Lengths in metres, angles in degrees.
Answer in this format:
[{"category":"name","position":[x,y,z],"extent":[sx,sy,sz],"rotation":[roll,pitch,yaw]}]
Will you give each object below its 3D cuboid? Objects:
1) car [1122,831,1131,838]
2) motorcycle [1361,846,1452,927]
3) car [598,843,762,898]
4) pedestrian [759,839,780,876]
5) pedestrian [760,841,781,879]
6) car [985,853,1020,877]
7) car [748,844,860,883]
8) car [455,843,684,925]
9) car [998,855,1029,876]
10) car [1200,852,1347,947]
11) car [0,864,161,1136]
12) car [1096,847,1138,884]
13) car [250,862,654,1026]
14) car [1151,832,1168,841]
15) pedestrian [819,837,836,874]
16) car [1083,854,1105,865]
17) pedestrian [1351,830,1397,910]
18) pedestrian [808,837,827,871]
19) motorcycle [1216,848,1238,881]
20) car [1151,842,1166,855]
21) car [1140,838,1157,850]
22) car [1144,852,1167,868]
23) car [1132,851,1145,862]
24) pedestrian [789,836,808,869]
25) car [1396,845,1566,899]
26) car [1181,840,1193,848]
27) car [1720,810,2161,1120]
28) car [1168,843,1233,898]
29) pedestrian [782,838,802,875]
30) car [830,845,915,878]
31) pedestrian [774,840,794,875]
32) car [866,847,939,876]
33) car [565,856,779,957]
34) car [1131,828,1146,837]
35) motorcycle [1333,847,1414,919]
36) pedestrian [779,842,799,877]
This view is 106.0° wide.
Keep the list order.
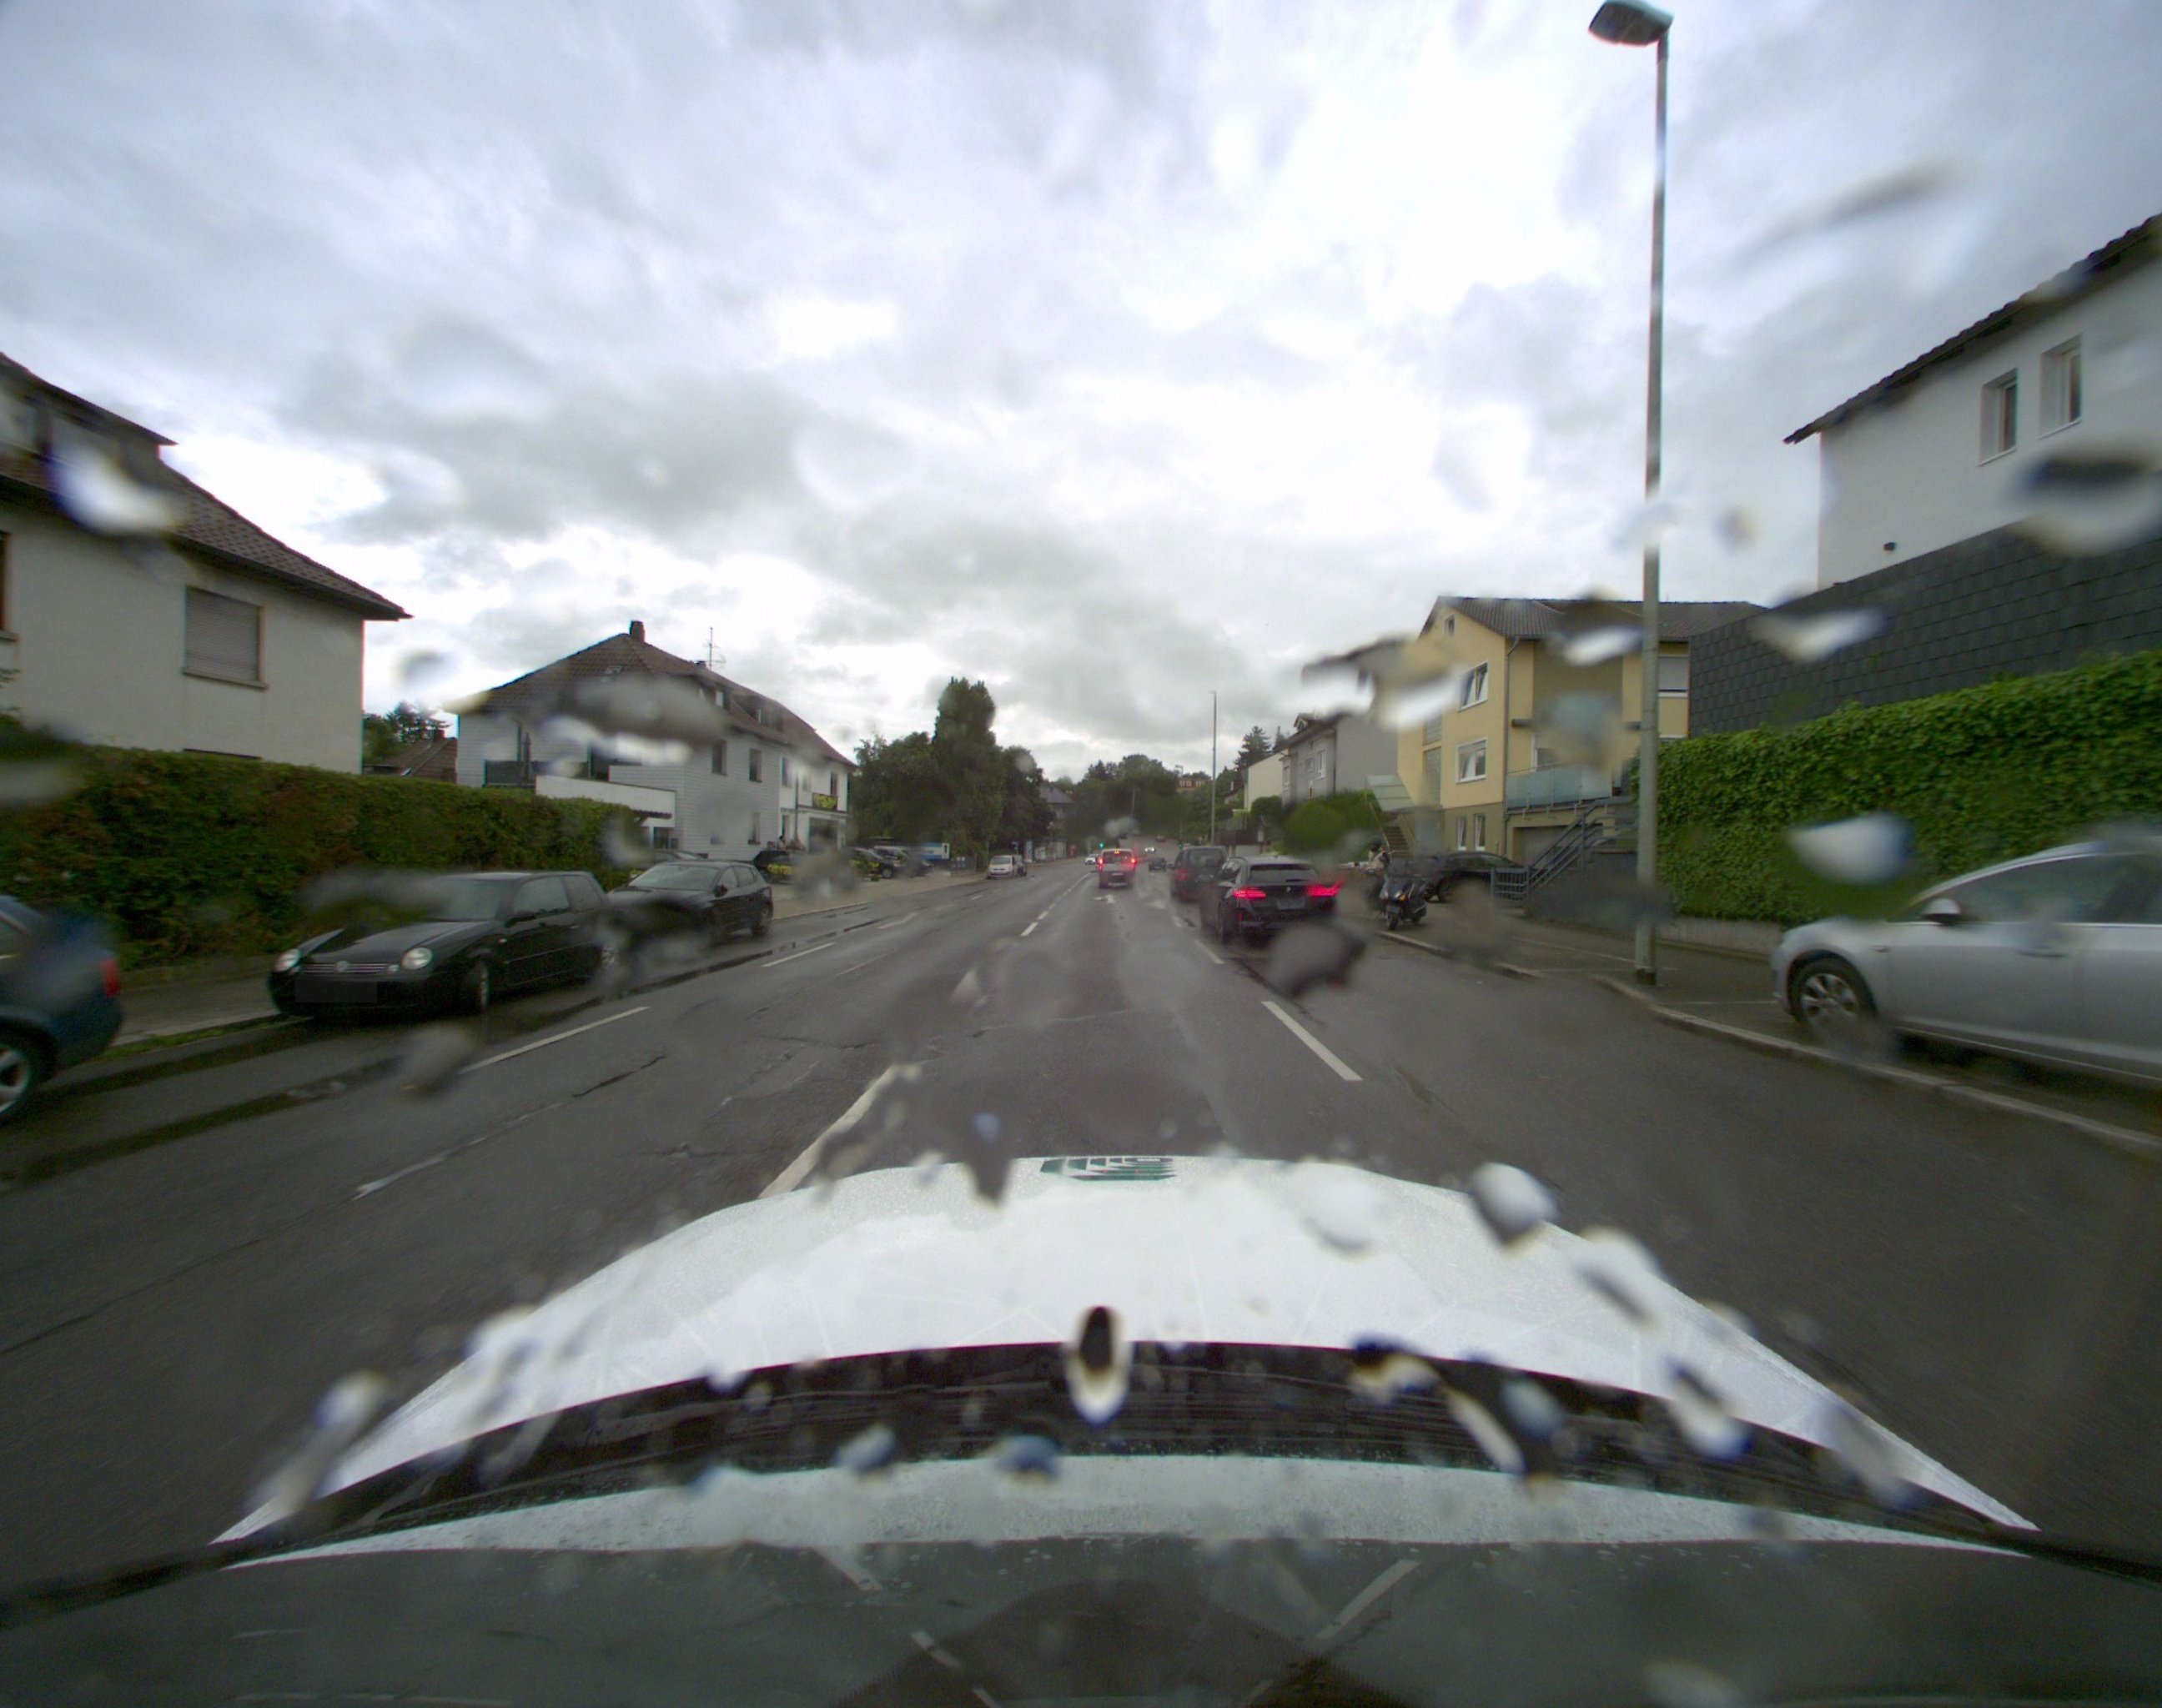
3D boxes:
[{"category":"car","position":[11.268,-4.854,201.913],"extent":[1.986,1.585,4.002],"rotation":[0,0,2]},{"category":"motorcycle","position":[6.385,0.583,15.923],"extent":[2.101,1.450,0.812],"rotation":[-1,1,-42]},{"category":"car","position":[-12.046,0.480,24.639],"extent":[3.972,1.516,1.856],"rotation":[1,0,1]},{"category":"pedestrian","position":[-14.528,0.166,37.964],"extent":[0.597,1.665,0.651],"rotation":[3,0,6]},{"category":"pedestrian","position":[-14.190,0.276,37.204],"extent":[0.597,1.665,0.651],"rotation":[3,0,6]},{"category":"car","position":[-5.343,0.756,55.917],"extent":[1.877,1.585,4.002],"rotation":[0,0,2]},{"category":"car","position":[-11.786,0.405,34.839],"extent":[4.058,1.516,1.856],"rotation":[1,0,1]},{"category":"car","position":[-11.697,0.657,18.847],"extent":[3.979,1.516,1.853],"rotation":[-4,0,-4]},{"category":"car","position":[-5.153,0.844,62.499],"extent":[1.877,1.585,4.002],"rotation":[0,0,2]},{"category":"car","position":[3.312,0.718,14.802],"extent":[1.985,1.484,4.004],"rotation":[0,0,4]},{"category":"car","position":[-7.051,0.830,3.278],"extent":[1.751,1.532,4.287],"rotation":[0,0,1]},{"category":"car","position":[1.763,0.557,40.111],"extent":[1.986,1.737,4.002],"rotation":[0,0,2]},{"category":"car","position":[-6.682,0.828,9.304],"extent":[1.547,1.431,4.012],"rotation":[0,0,-2]},{"category":"car","position":[18.595,-4.115,193.058],"extent":[2.522,2.013,5.590],"rotation":[0,3,-10]},{"category":"pedestrian","position":[-12.594,0.078,40.436],"extent":[0.599,1.790,0.649],"rotation":[3,0,-4]},{"category":"car","position":[1.844,0.788,117.944],"extent":[1.978,1.547,4.416],"rotation":[0,0,18]},{"category":"pedestrian","position":[6.261,0.330,17.400],"extent":[0.837,1.649,0.615],"rotation":[1,-1,-43]},{"category":"pedestrian","position":[-13.335,-0.001,41.281],"extent":[0.597,1.665,0.651],"rotation":[3,0,10]},{"category":"motorcycle","position":[7.062,0.501,39.466],"extent":[0.700,1.509,2.151],"rotation":[-2,0,2]},{"category":"car","position":[13.400,-0.982,140.773],"extent":[2.510,2.013,5.617],"rotation":[1,3,5]},{"category":"car","position":[13.087,-1.985,158.649],"extent":[2.517,2.013,5.601],"rotation":[1,3,-5]},{"category":"car","position":[7.346,0.586,80.629],"extent":[1.986,1.578,4.002],"rotation":[-1,0,2]},{"category":"car","position":[9.849,0.455,139.867],"extent":[1.986,1.772,4.002],"rotation":[-1,0,2]},{"category":"pedestrian","position":[-14.386,-0.072,41.469],"extent":[0.597,1.665,0.651],"rotation":[3,0,6]},{"category":"car","position":[11.450,0.508,23.493],"extent":[3.974,1.433,1.869],"rotation":[-1,0,0]},{"category":"car","position":[20.512,-1.899,157.794],"extent":[1.986,1.585,4.002],"rotation":[0,0,2]},{"category":"car","position":[6.122,0.544,4.527],"extent":[1.694,1.510,4.536],"rotation":[0,0,1]},{"category":"car","position":[4.057,0.534,28.201],"extent":[1.831,1.767,4.002],"rotation":[0,0,2]},{"category":"pedestrian","position":[-13.671,0.113,38.512],"extent":[0.597,1.665,0.651],"rotation":[3,0,6]},{"category":"car","position":[-11.443,0.406,44.808],"extent":[4.058,1.516,1.856],"rotation":[4,0,1]},{"category":"pedestrian","position":[-14.455,0.169,39.608],"extent":[0.597,1.665,0.651],"rotation":[3,0,6]},{"category":"car","position":[-11.311,0.463,51.744],"extent":[4.058,1.516,1.856],"rotation":[4,0,1]},{"category":"car","position":[-7.001,0.805,14.498],"extent":[1.752,1.532,4.206],"rotation":[0,0,-2]},{"category":"car","position":[15.129,-5.682,213.937],"extent":[2.522,2.013,5.590],"rotation":[0,4,-11]},{"category":"motorcycle","position":[6.294,0.585,17.460],"extent":[2.100,1.450,0.750],"rotation":[0,0,-42]},{"category":"pedestrian","position":[-14.507,0.268,40.470],"extent":[0.597,1.665,0.651],"rotation":[3,0,6]}]
